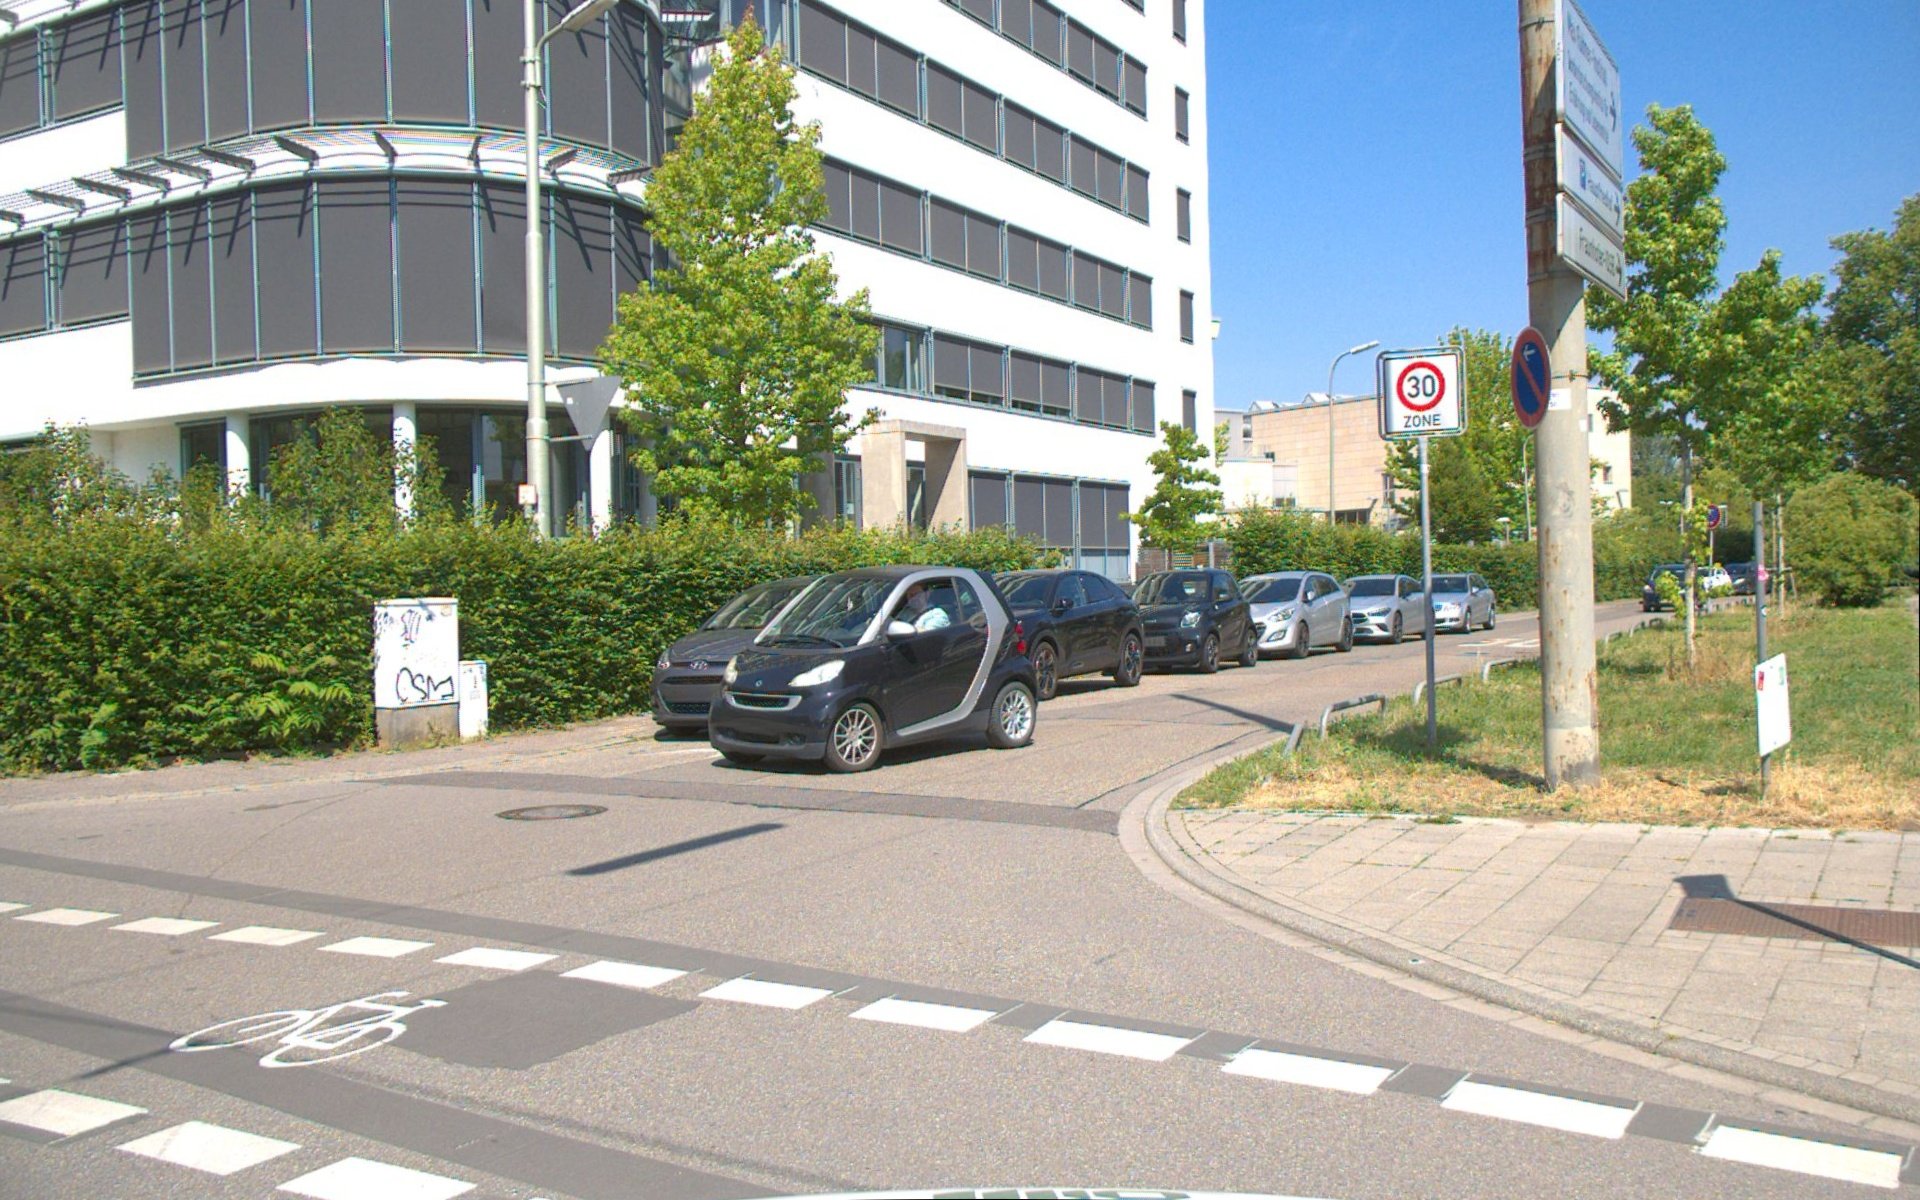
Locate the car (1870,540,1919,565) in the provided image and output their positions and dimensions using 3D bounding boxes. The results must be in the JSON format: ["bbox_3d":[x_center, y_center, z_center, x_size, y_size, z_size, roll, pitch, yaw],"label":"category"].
[{"bbox_3d":[57.099,-2.905,100.907,1.901,1.475,3.805,-1,1,42],"label":"car"}]

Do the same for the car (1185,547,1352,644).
[{"bbox_3d":[5.562,-0.119,29.453,1.774,1.531,4.040,-2,1,28],"label":"car"}]

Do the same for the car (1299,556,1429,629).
[{"bbox_3d":[8.558,-0.184,34.865,1.774,1.428,3.824,-1,1,28],"label":"car"}]

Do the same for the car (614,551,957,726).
[{"bbox_3d":[-1.634,0.310,16.740,1.667,1.554,3.692,-1,1,28],"label":"car"}]

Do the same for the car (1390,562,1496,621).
[{"bbox_3d":[11.860,-0.231,40.461,1.774,1.345,3.824,-1,1,28],"label":"car"}]

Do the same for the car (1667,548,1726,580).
[{"bbox_3d":[36.070,-1.756,80.910,1.897,1.475,3.815,-1,1,36],"label":"car"}]

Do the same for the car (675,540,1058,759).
[{"bbox_3d":[-0.710,0.335,13.719,1.454,1.565,2.957,-1,2,44],"label":"car"}]

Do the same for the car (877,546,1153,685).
[{"bbox_3d":[0.802,0.133,20.549,1.774,1.545,4.164,-1,1,28],"label":"car"}]

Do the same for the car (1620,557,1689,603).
[{"bbox_3d":[24.139,-0.698,57.424,1.892,1.475,3.824,-1,1,28],"label":"car"}]

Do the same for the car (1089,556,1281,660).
[{"bbox_3d":[3.572,0.078,25.710,1.743,1.469,3.846,-1,1,28],"label":"car"}]
